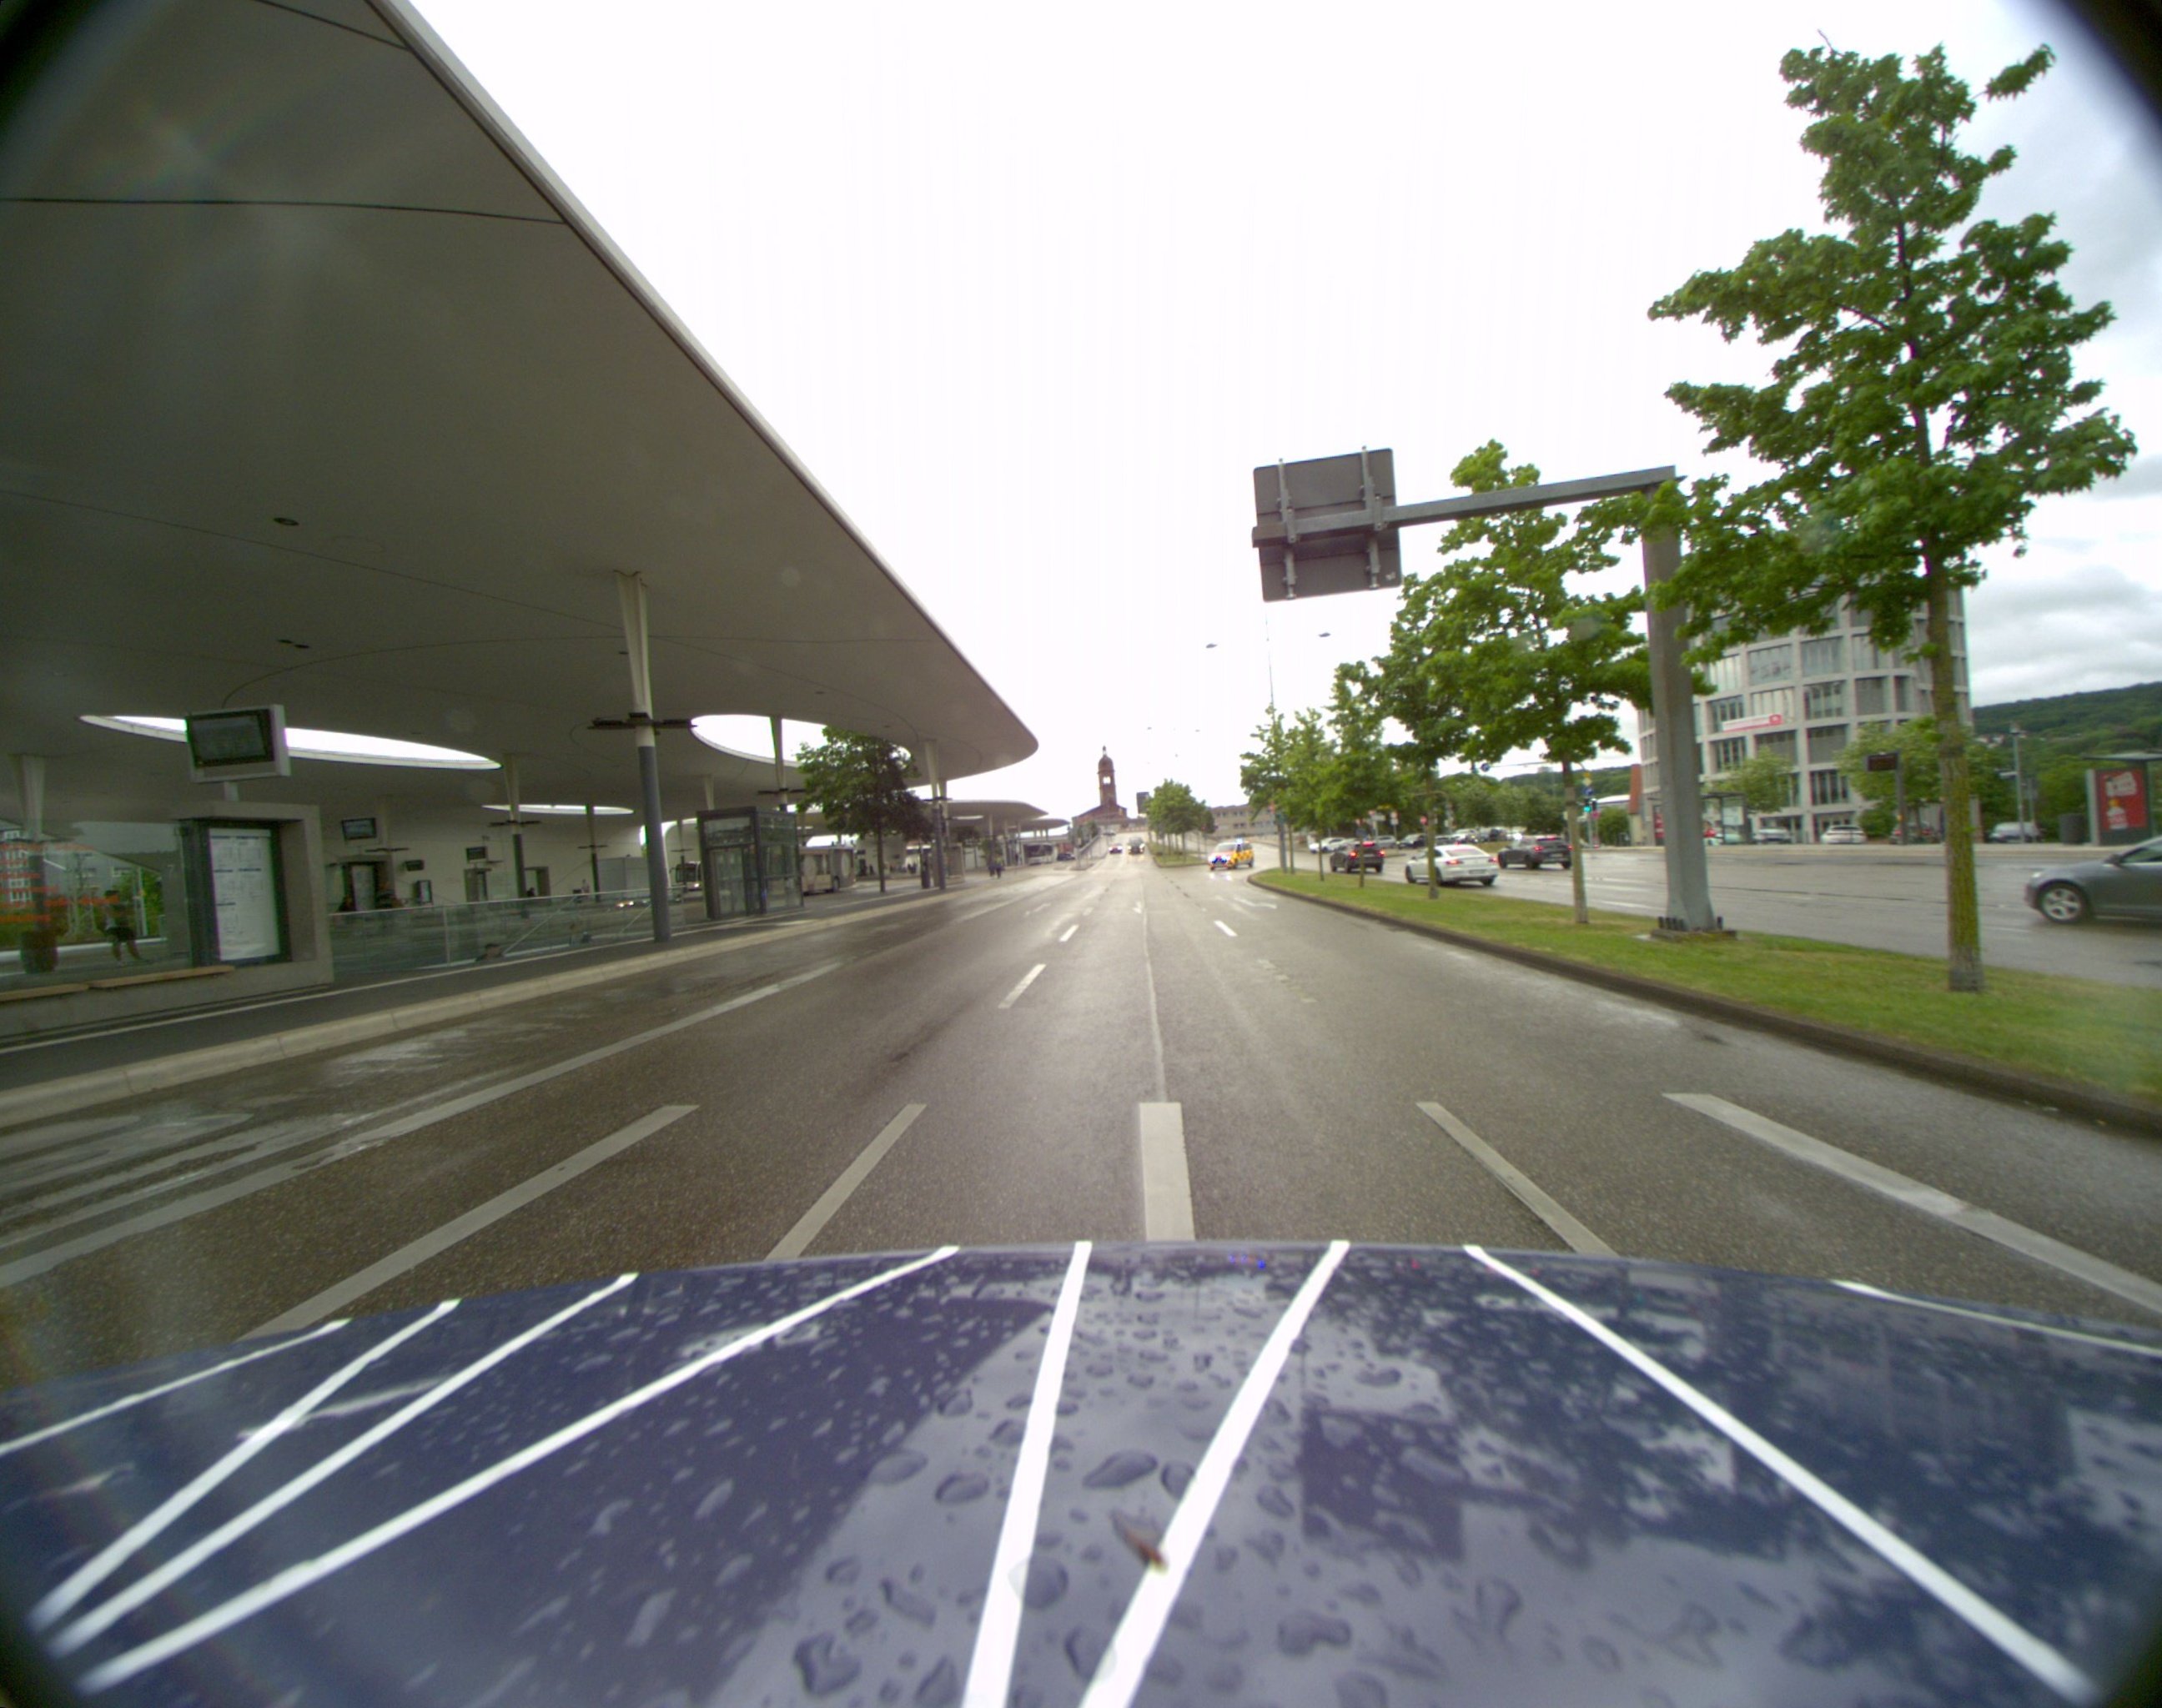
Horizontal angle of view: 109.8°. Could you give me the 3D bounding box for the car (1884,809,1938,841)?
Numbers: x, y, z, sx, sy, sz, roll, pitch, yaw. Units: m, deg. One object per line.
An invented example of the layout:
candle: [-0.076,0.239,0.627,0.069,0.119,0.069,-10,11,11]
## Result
car: [46.940,-1.650,42.939,4.165,1.692,1.872,-3,1,-40]

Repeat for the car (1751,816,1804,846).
car: [43.068,-1.444,46.975,4.165,1.692,1.872,-3,1,-40]

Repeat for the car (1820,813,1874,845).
car: [45.057,-1.495,44.660,4.165,1.692,1.872,-3,1,-40]

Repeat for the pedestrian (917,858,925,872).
pedestrian: [-22.723,1.525,107.636,1.025,2.002,0.879,-2,1,-13]

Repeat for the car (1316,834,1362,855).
car: [22.575,-0.836,66.339,4.165,1.692,1.872,-3,1,-40]

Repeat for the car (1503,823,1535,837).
car: [53.312,-2.943,92.440,4.165,1.625,1.872,-3,1,-38]

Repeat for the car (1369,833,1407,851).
car: [32.408,-1.253,80.213,4.165,1.692,1.872,-3,1,-39]

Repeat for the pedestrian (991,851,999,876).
pedestrian: [-6.038,0.663,53.486,0.445,1.754,0.537,-3,1,-2]

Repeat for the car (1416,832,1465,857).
car: [24.251,-0.648,51.387,1.883,1.545,4.003,-2,1,8]

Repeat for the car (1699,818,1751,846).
car: [41.518,-1.418,48.947,4.165,1.692,1.872,-3,1,-40]

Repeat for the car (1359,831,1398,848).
car: [32.861,-1.602,83.902,4.163,1.624,1.873,-3,1,-31]

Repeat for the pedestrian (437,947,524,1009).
pedestrian: [-11.742,2.414,14.887,0.882,1.048,0.958,-2,1,8]

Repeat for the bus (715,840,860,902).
bus: [-16.614,0.792,44.512,2.875,3.064,11.924,-2,1,5]

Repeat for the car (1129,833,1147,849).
car: [7.559,-1.712,101.500,1.999,2.002,3.999,-2,1,-1]

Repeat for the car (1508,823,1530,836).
car: [57.551,-3.191,99.787,1.872,1.625,4.165,-1,1,39]

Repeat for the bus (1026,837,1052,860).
bus: [-6.403,-0.838,115.083,3.583,3.080,10.750,-3,0,-4]

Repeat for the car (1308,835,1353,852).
car: [25.438,-1.083,77.624,4.052,1.550,1.809,-2,1,-18]

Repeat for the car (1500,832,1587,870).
car: [20.677,-0.142,34.174,1.883,1.545,4.003,-2,1,8]

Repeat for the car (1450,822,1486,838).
car: [42.685,-2.639,83.844,4.309,1.625,1.872,-3,1,-38]

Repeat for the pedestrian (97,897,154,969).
pedestrian: [-20.860,1.715,16.591,0.478,1.505,0.535,-3,1,8]

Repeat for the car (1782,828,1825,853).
car: [53.688,-1.027,56.449,4.165,1.692,1.872,-3,1,-40]

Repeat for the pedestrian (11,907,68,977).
pedestrian: [-23.316,1.961,17.009,0.478,1.505,0.525,-3,1,8]

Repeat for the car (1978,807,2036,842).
car: [48.861,-1.550,40.147,4.165,1.692,1.872,-3,1,-40]

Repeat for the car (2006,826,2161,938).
car: [15.157,0.373,9.674,1.698,1.457,4.453,-2,1,7]

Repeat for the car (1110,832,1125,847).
car: [5.210,-2.054,107.697,1.998,2.002,4.000,-2,1,2]

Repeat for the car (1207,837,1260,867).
car: [11.022,-0.191,54.585,1.995,2.002,5.070,-1,1,32]

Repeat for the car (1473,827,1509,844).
car: [42.957,-1.920,79.528,4.165,1.625,1.872,-3,1,-39]

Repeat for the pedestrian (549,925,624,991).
pedestrian: [-10.564,2.209,16.263,0.882,1.268,0.958,-2,1,8]

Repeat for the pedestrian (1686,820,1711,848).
pedestrian: [32.654,-1.057,40.181,0.732,1.481,0.735,-2,1,13]

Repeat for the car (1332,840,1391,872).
car: [14.678,0.048,39.998,2.009,1.545,4.166,-2,1,7]

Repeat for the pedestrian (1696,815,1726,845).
pedestrian: [32.512,-1.219,39.235,0.983,1.481,0.735,-2,1,15]

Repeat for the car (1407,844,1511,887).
car: [13.338,0.354,27.124,2.009,1.345,4.166,-2,1,7]

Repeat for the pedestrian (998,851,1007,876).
pedestrian: [-5.523,0.645,53.474,0.446,1.754,0.537,-3,1,-2]

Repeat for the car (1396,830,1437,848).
car: [32.871,-1.466,74.385,4.165,1.692,1.872,-3,1,-39]
